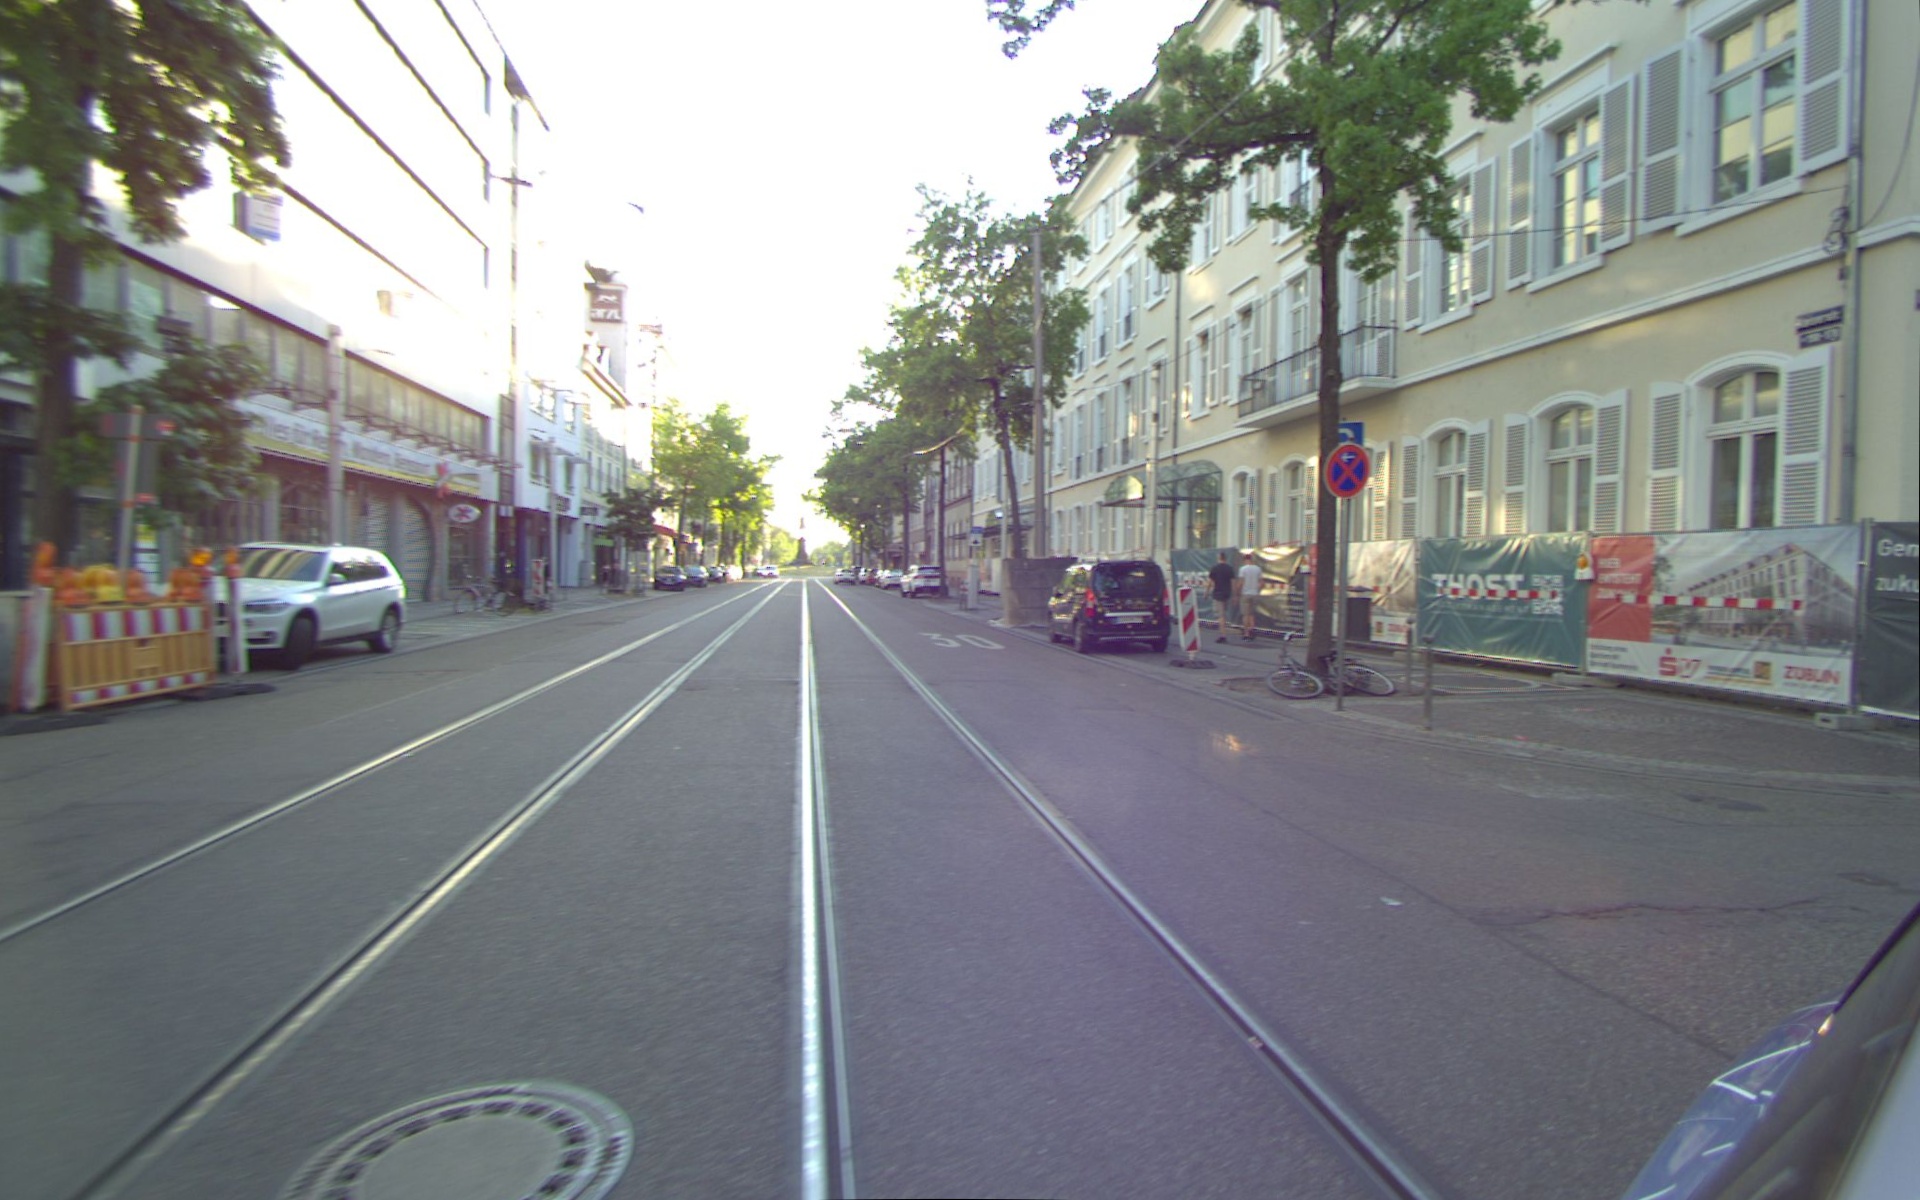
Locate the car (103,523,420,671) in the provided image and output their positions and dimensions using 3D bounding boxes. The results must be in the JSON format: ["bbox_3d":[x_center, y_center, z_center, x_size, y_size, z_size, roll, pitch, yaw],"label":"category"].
[{"bbox_3d":[-10.173,-0.088,15.291,1.959,1.793,4.677,3,1,-7],"label":"car"}]

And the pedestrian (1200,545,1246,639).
[{"bbox_3d":[5.472,-0.174,21.106,0.666,1.907,0.771,-1,2,-8],"label":"pedestrian"}]

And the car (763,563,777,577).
[{"bbox_3d":[-24.125,-3.768,128.418,1.703,1.759,4.113,0,2,-9],"label":"car"}]

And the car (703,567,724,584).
[{"bbox_3d":[-22.342,-2.195,91.704,1.652,1.498,3.854,0,2,-10],"label":"car"}]

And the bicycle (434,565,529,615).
[{"bbox_3d":[-12.694,-0.275,26.876,2.124,1.173,0.762,3,2,-3],"label":"bicycle"}]

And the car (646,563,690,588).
[{"bbox_3d":[-17.185,-1.467,59.712,1.963,1.379,4.113,2,1,-9],"label":"car"}]

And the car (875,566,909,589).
[{"bbox_3d":[-4.782,-1.579,70.490,1.959,1.522,4.113,0,2,-9],"label":"car"}]

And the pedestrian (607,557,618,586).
[{"bbox_3d":[-19.704,-1.622,57.397,0.468,1.575,0.749,1,2,-9],"label":"pedestrian"}]

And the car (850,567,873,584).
[{"bbox_3d":[-9.421,-2.327,96.530,1.959,1.568,4.112,0,2,-7],"label":"car"}]

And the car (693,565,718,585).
[{"bbox_3d":[-21.661,-2.148,86.293,1.864,1.713,4.114,0,2,-12],"label":"car"}]

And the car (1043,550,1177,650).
[{"bbox_3d":[2.939,-0.062,20.650,1.738,1.786,3.883,-2,2,-6],"label":"car"}]

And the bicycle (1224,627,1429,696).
[{"bbox_3d":[4.597,0.747,12.787,2.033,0.715,1.334,0,2,-15],"label":"bicycle"}]

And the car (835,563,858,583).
[{"bbox_3d":[-10.351,-2.430,91.803,1.959,1.759,4.112,0,2,-7],"label":"car"}]

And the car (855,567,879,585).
[{"bbox_3d":[-8.389,-2.147,90.616,1.959,1.596,4.112,0,2,-7],"label":"car"}]

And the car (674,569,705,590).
[{"bbox_3d":[-18.469,-1.443,69.261,1.703,1.335,4.113,3,1,-10],"label":"car"}]

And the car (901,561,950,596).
[{"bbox_3d":[-1.833,-1.140,52.505,1.959,1.759,4.113,0,2,-9],"label":"car"}]

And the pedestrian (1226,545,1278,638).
[{"bbox_3d":[6.163,-0.203,21.377,0.744,1.907,0.882,-1,2,-8],"label":"pedestrian"}]

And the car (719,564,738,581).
[{"bbox_3d":[-24.541,-2.909,107.342,1.703,1.759,4.113,0,2,-9],"label":"car"}]

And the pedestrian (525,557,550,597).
[{"bbox_3d":[-17.161,-0.954,41.075,0.715,1.577,0.840,1,2,-7],"label":"pedestrian"}]

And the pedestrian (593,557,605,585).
[{"bbox_3d":[-20.345,-1.616,57.011,0.468,1.566,0.749,1,2,-9],"label":"pedestrian"}]
